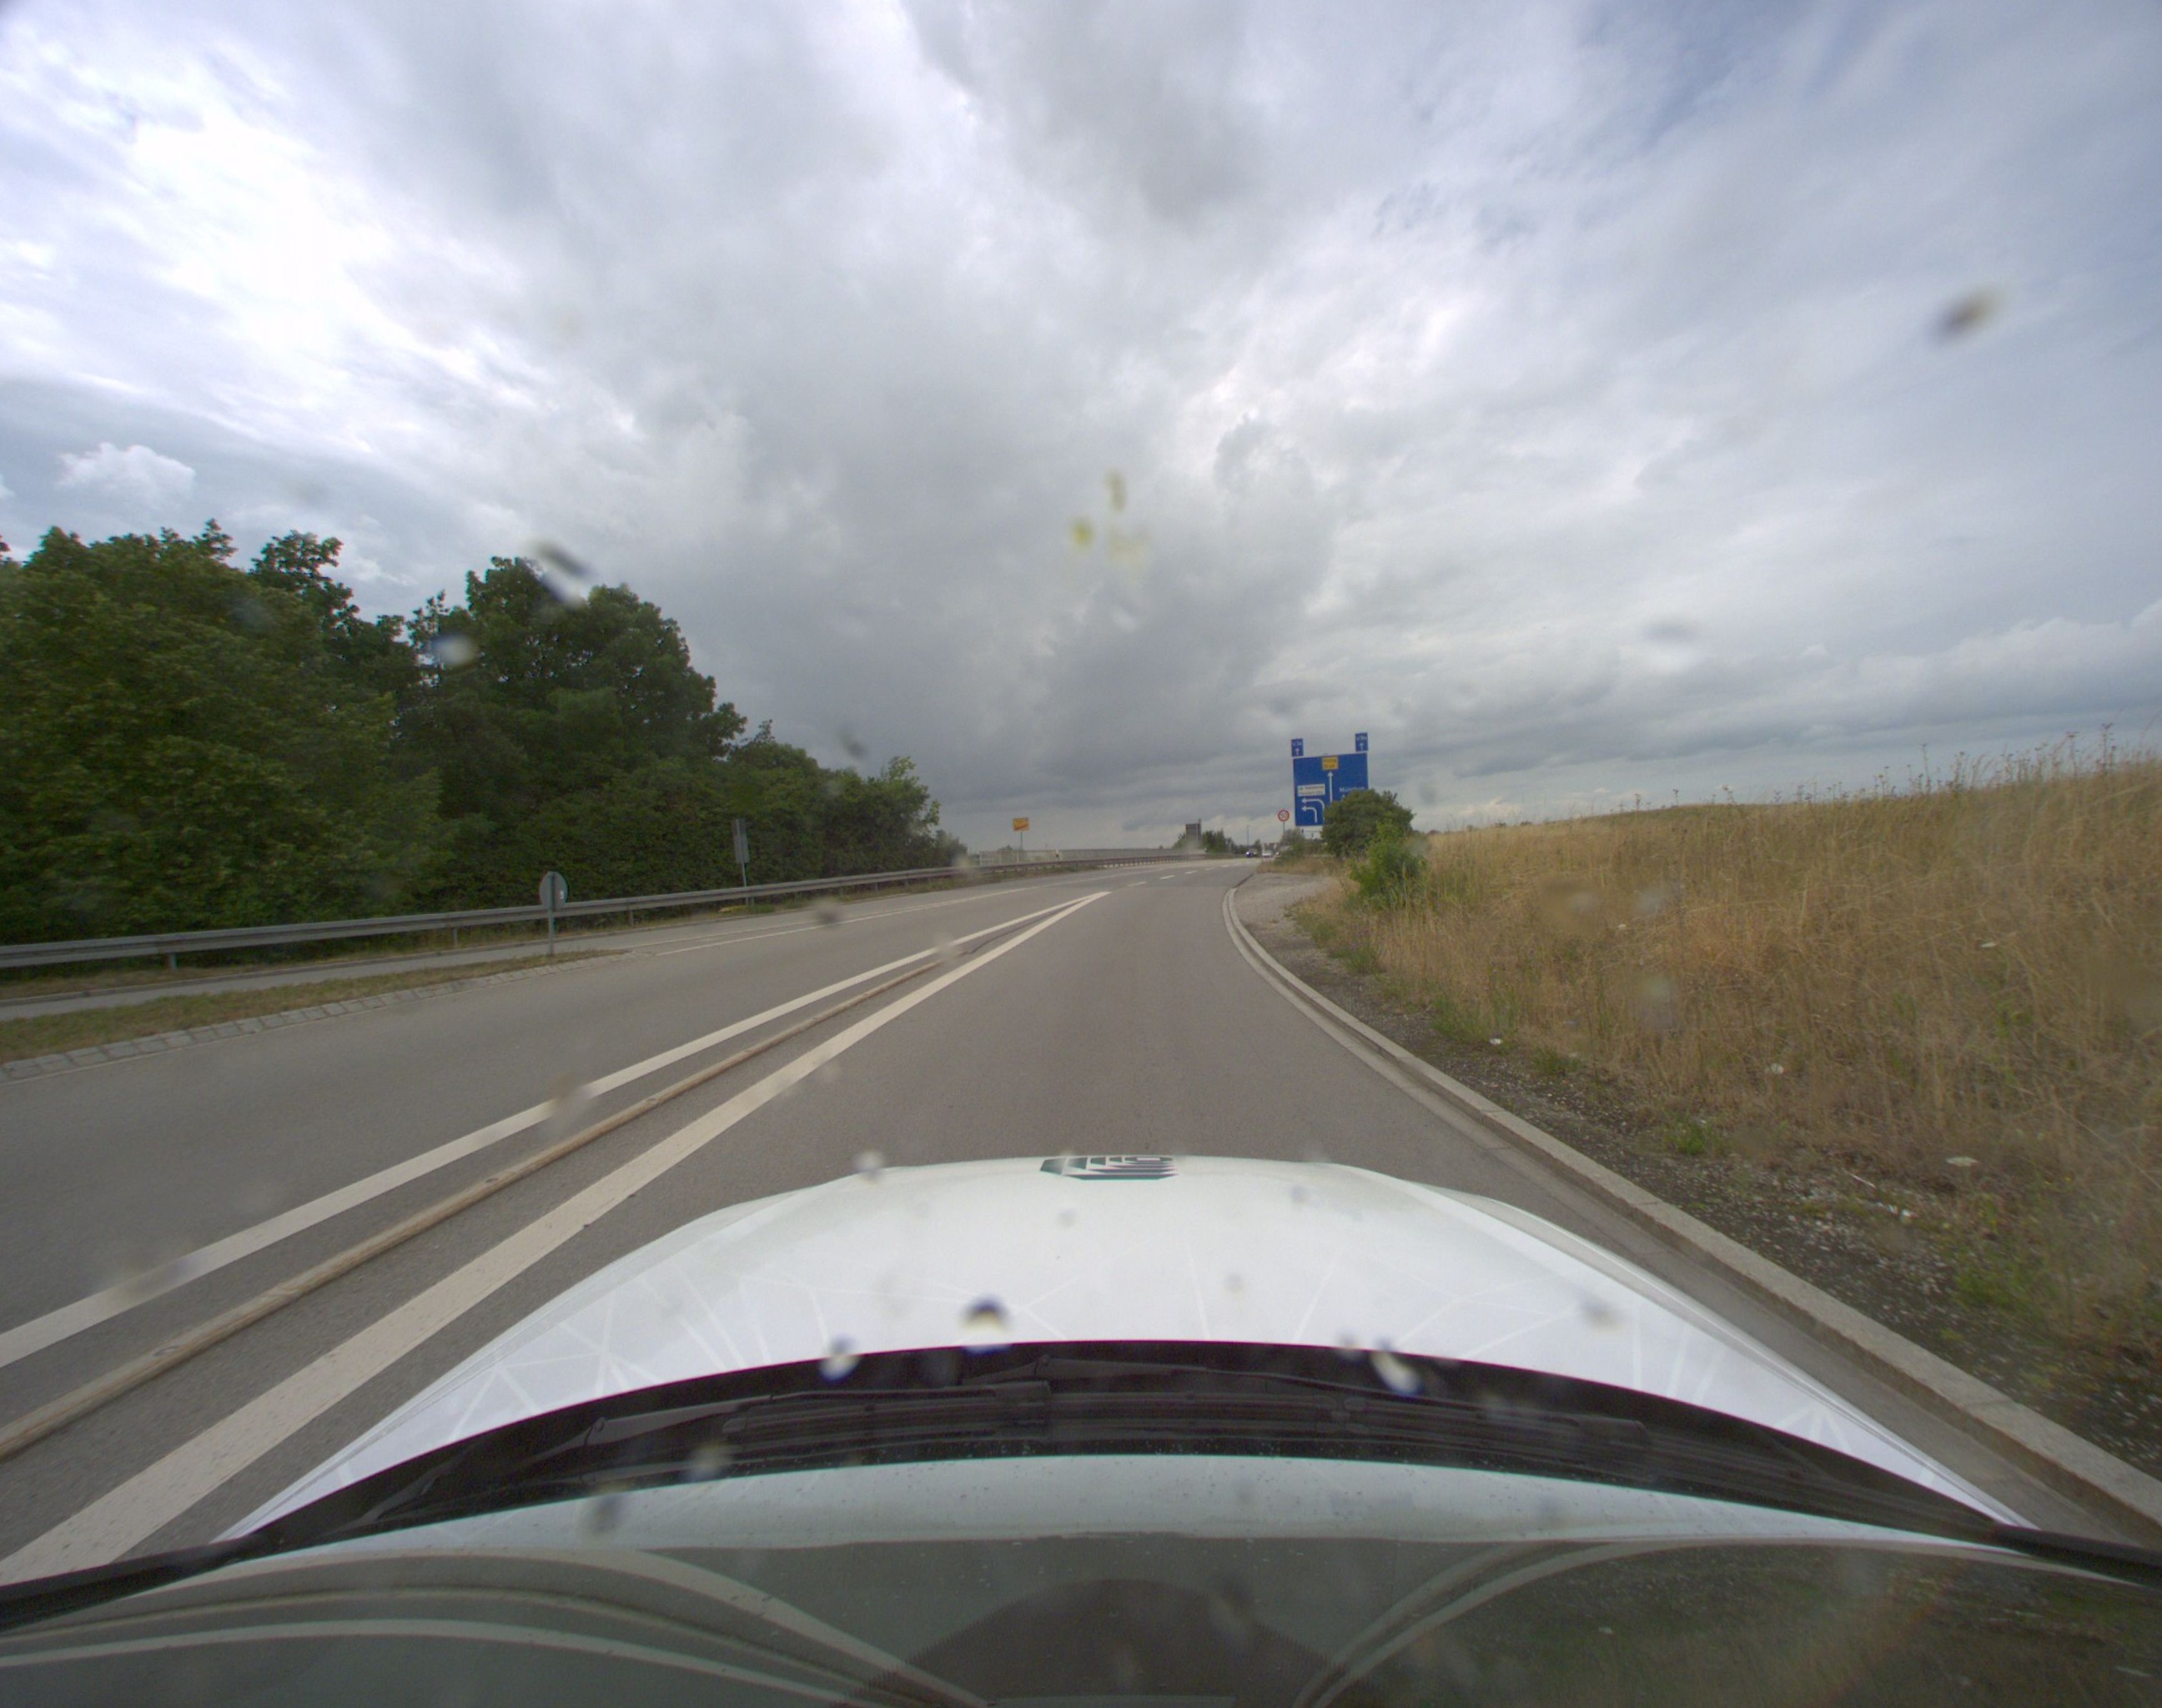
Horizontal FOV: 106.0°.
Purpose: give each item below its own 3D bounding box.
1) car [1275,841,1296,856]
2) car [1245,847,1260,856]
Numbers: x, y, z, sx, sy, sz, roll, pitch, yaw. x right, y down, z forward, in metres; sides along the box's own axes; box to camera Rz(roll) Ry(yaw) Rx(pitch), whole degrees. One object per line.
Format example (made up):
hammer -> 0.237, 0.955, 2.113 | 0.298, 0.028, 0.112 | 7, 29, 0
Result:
car -> 21.175, -0.580, 84.148 | 1.504, 1.485, 3.635 | -2, 0, 23
car -> 33.183, -0.497, 157.222 | 1.976, 1.732, 4.787 | 3, 1, 22
